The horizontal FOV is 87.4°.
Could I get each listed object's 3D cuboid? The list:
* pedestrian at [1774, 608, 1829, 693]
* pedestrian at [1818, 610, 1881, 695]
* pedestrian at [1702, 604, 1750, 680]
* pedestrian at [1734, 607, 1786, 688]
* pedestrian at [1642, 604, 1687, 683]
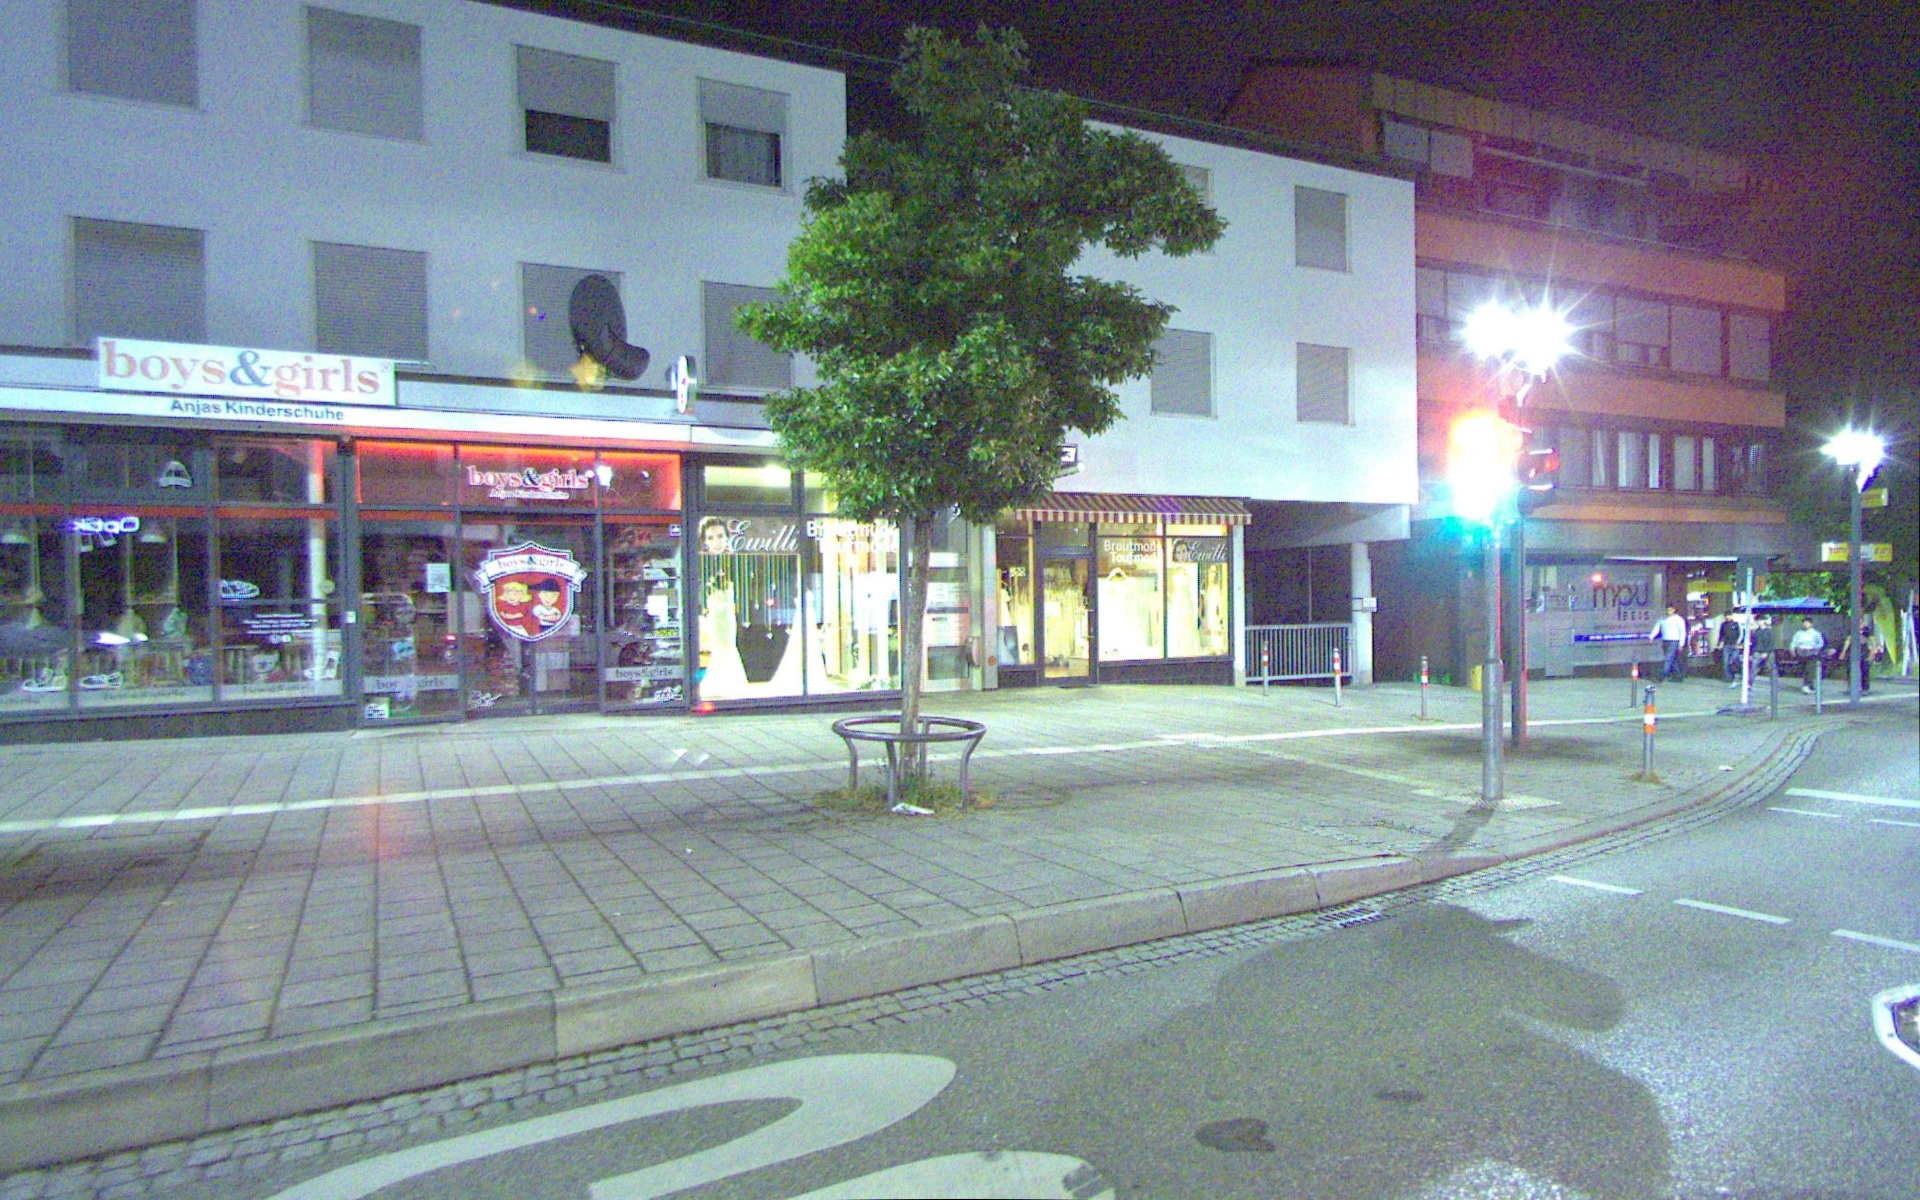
[{"bbox_3d":[18.585,1.111,22.183,0.561,1.819,0.714,3,-1,-23],"label":"pedestrian"},{"bbox_3d":[19.631,1.151,22.177,0.723,1.819,0.717,2,-1,-7],"label":"pedestrian"},{"bbox_3d":[18.742,1.020,24.594,0.561,1.819,0.714,3,-1,-23],"label":"pedestrian"},{"bbox_3d":[18.257,1.075,22.940,0.561,1.819,0.714,3,-1,-23],"label":"pedestrian"},{"bbox_3d":[16.643,1.025,23.721,0.565,1.819,0.709,3,-1,-42],"label":"pedestrian"}]
